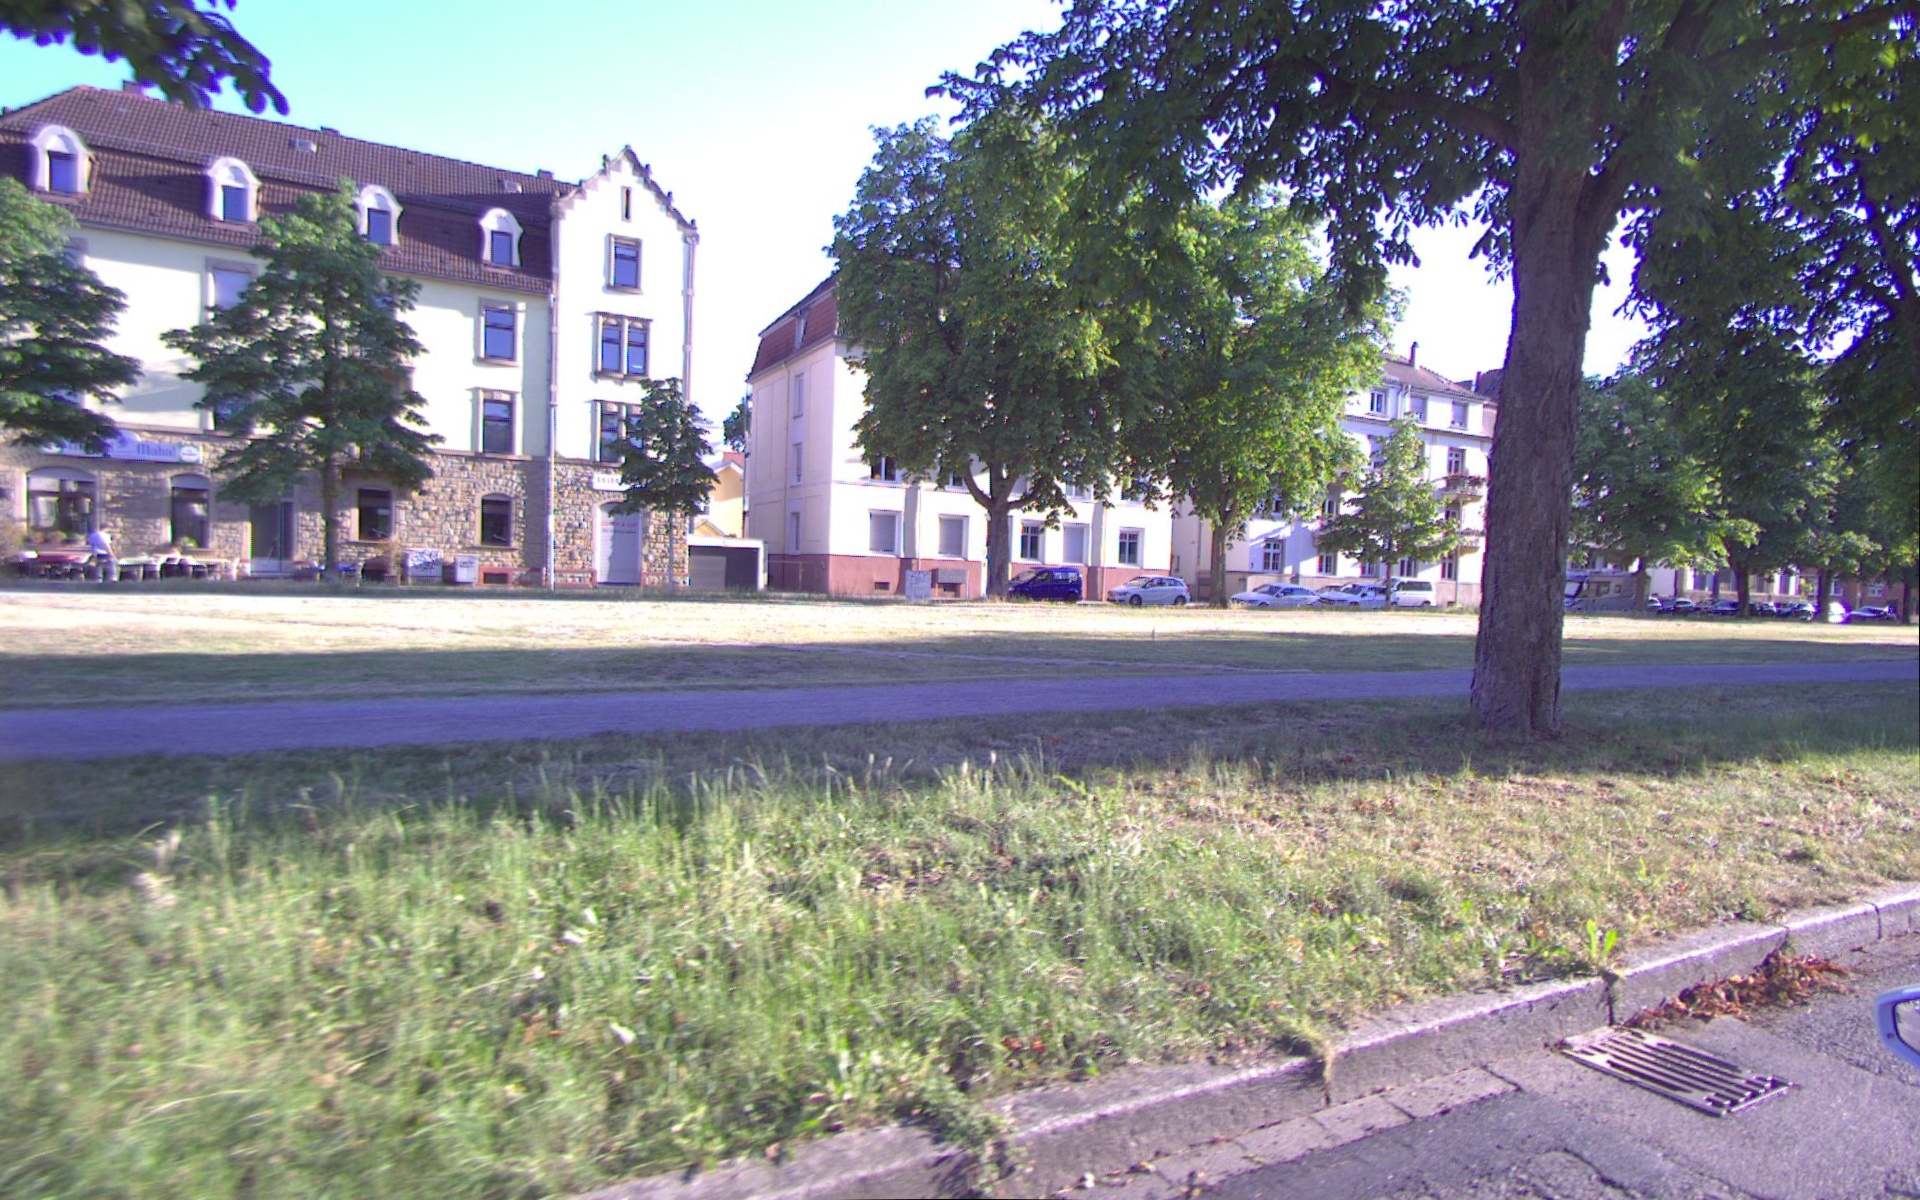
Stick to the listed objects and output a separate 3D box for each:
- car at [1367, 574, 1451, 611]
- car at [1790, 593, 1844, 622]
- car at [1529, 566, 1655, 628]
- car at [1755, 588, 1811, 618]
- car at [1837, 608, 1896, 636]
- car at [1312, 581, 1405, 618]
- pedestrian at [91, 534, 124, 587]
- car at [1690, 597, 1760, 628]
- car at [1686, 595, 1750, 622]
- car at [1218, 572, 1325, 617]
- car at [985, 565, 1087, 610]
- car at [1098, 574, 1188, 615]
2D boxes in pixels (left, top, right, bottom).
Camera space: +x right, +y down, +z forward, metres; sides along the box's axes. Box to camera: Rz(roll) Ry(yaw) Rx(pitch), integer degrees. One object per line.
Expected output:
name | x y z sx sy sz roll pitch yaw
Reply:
car | 26.609 -0.446 59.518 4.819 1.976 1.984 1 2 -29
car | 70.950 0.602 83.142 3.953 2.041 1.984 2 4 -30
car | 36.480 -0.137 57.901 7.754 3.173 2.382 1 5 -28
car | 65.590 0.247 80.046 3.953 2.041 1.984 2 4 -30
car | 67.559 1.641 74.869 4.070 1.805 1.804 3 4 -27
car | 19.415 -0.019 48.949 4.366 1.575 1.787 1 5 -30
pedestrian | -27.383 -1.271 32.280 0.675 1.646 0.613 2 4 -30
car | 49.819 0.834 65.392 4.261 1.696 1.872 3 4 -28
car | 56.453 0.622 74.833 4.317 1.681 1.986 3 4 -27
car | 14.378 -0.243 46.347 4.511 1.681 1.986 3 4 -27
car | 3.571 -0.586 47.185 4.256 1.759 1.986 3 4 -27
car | 9.105 -0.267 49.998 3.948 1.681 1.986 3 4 -27
